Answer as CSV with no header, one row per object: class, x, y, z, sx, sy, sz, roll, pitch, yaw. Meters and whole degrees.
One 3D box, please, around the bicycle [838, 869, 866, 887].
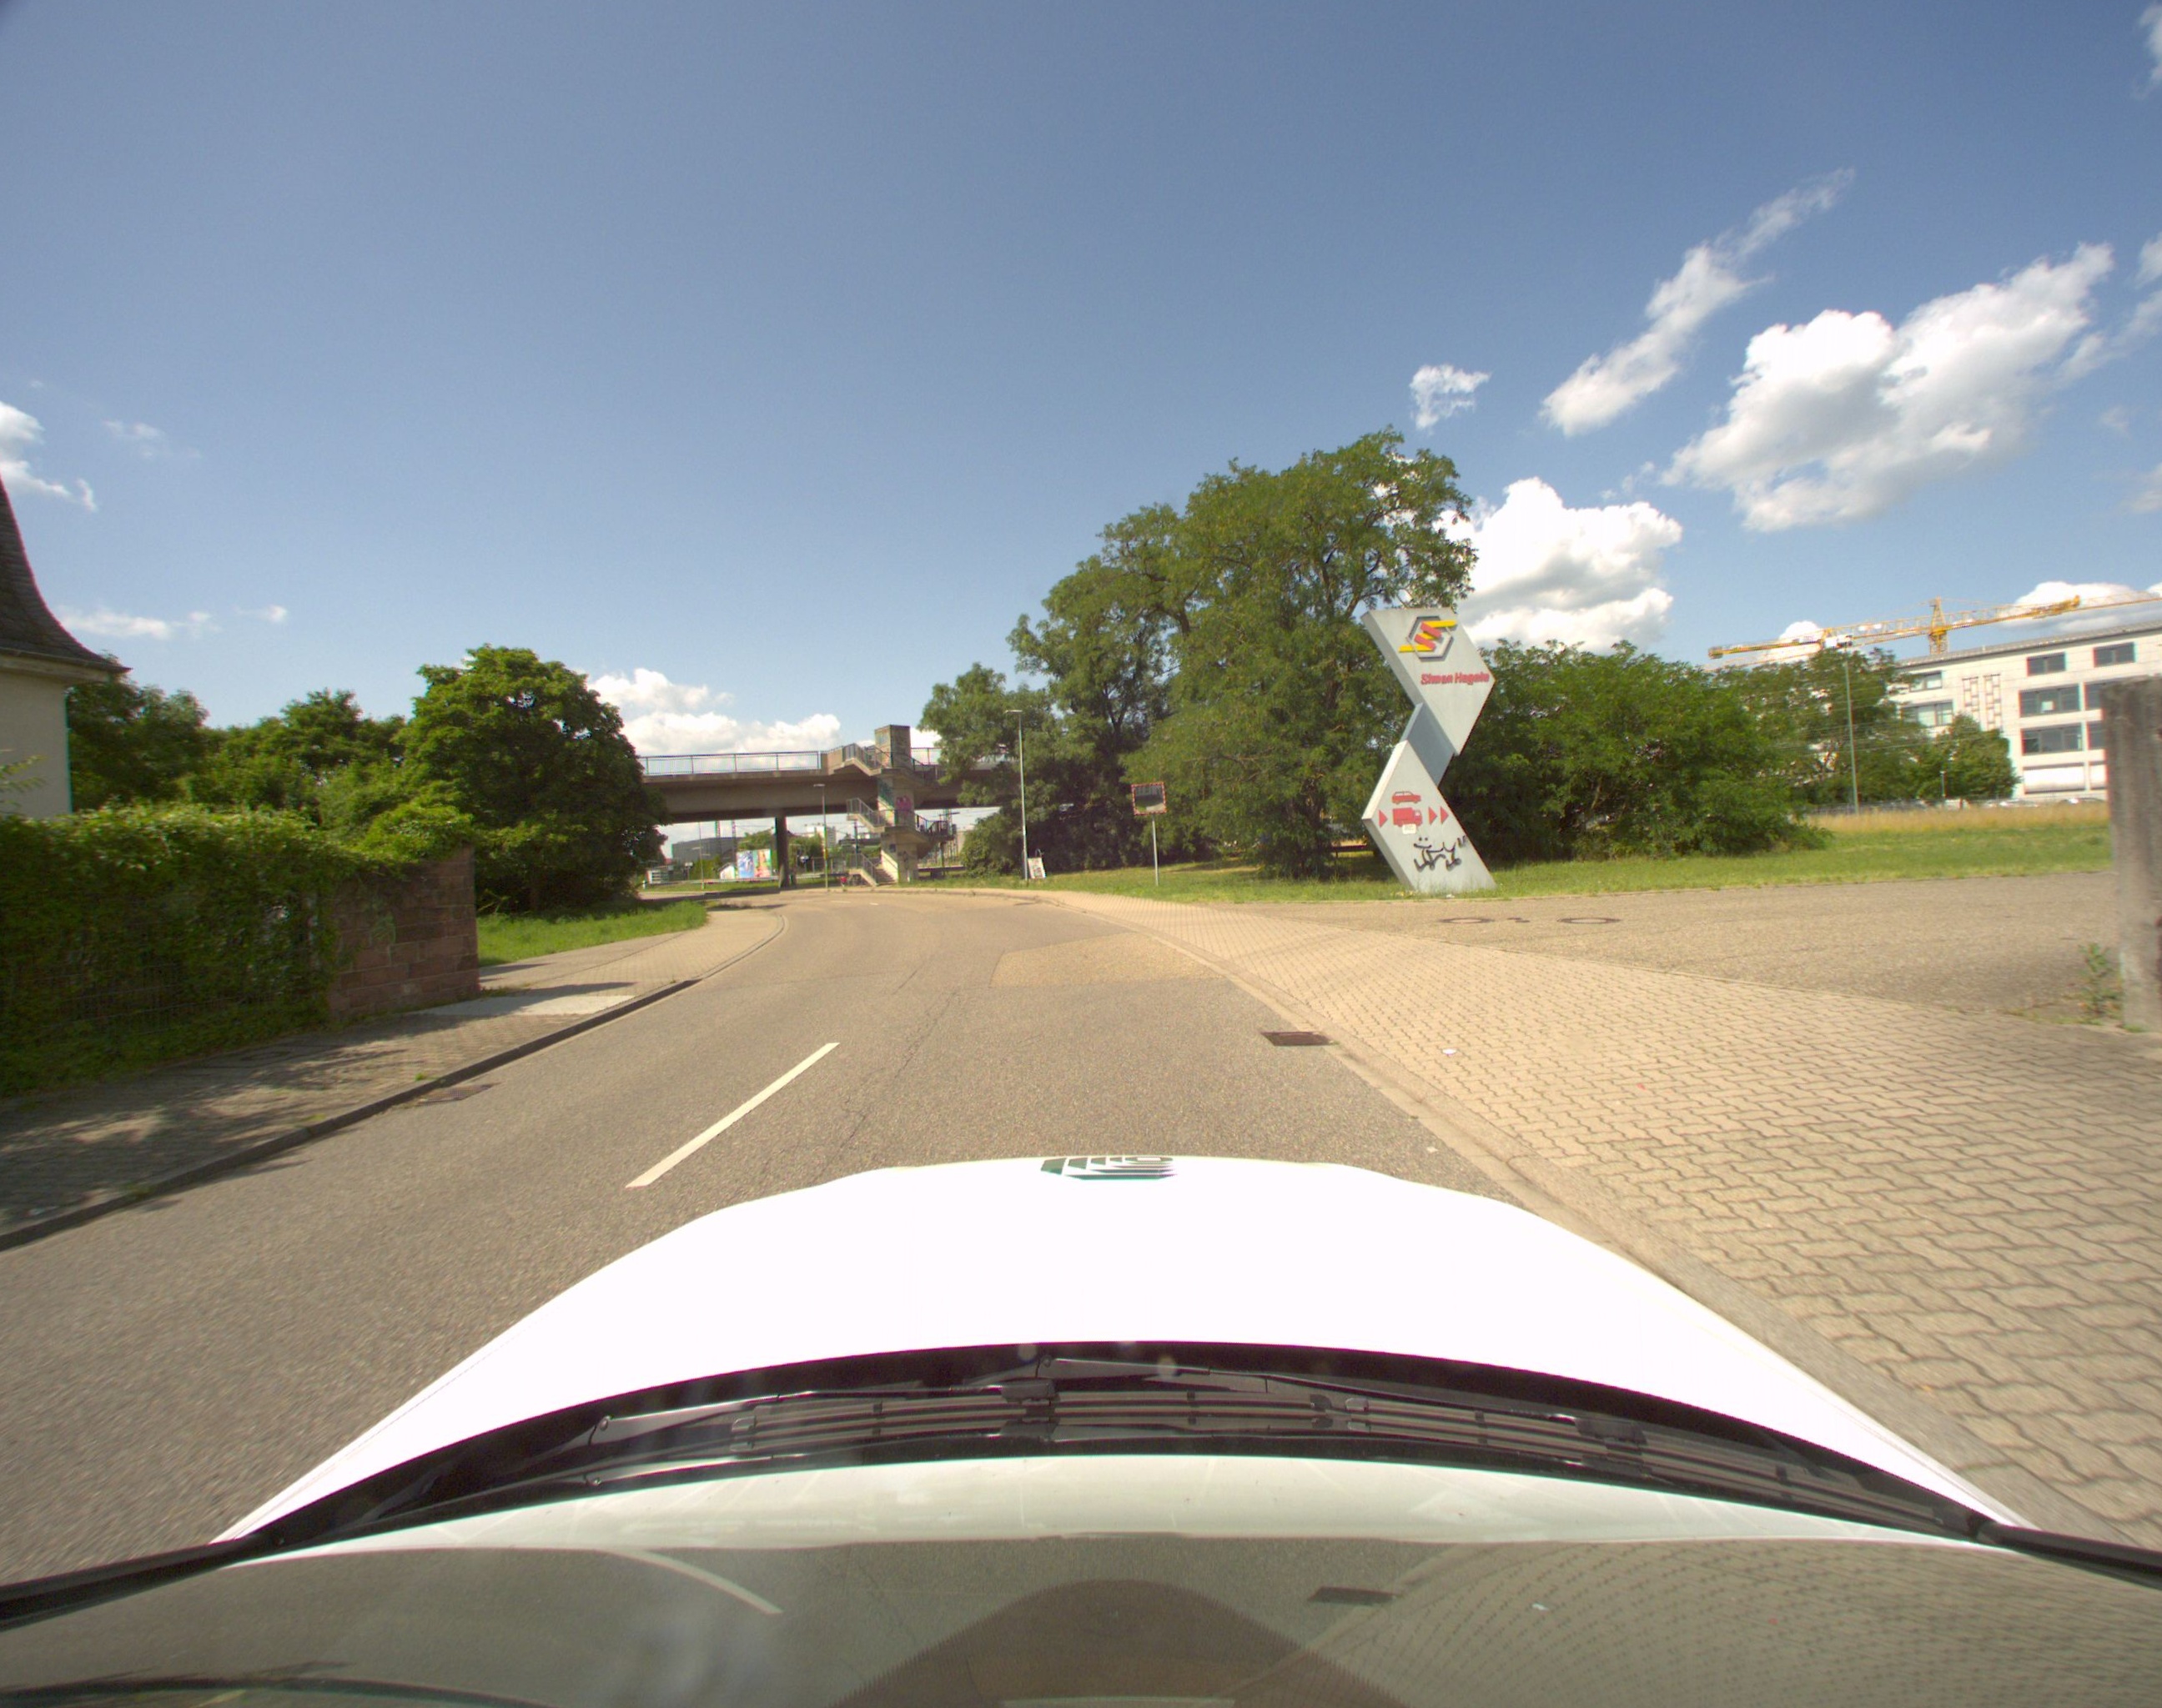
bicycle,-15.853,1.668,56.251,2.163,1.108,0.649,-4,1,39
